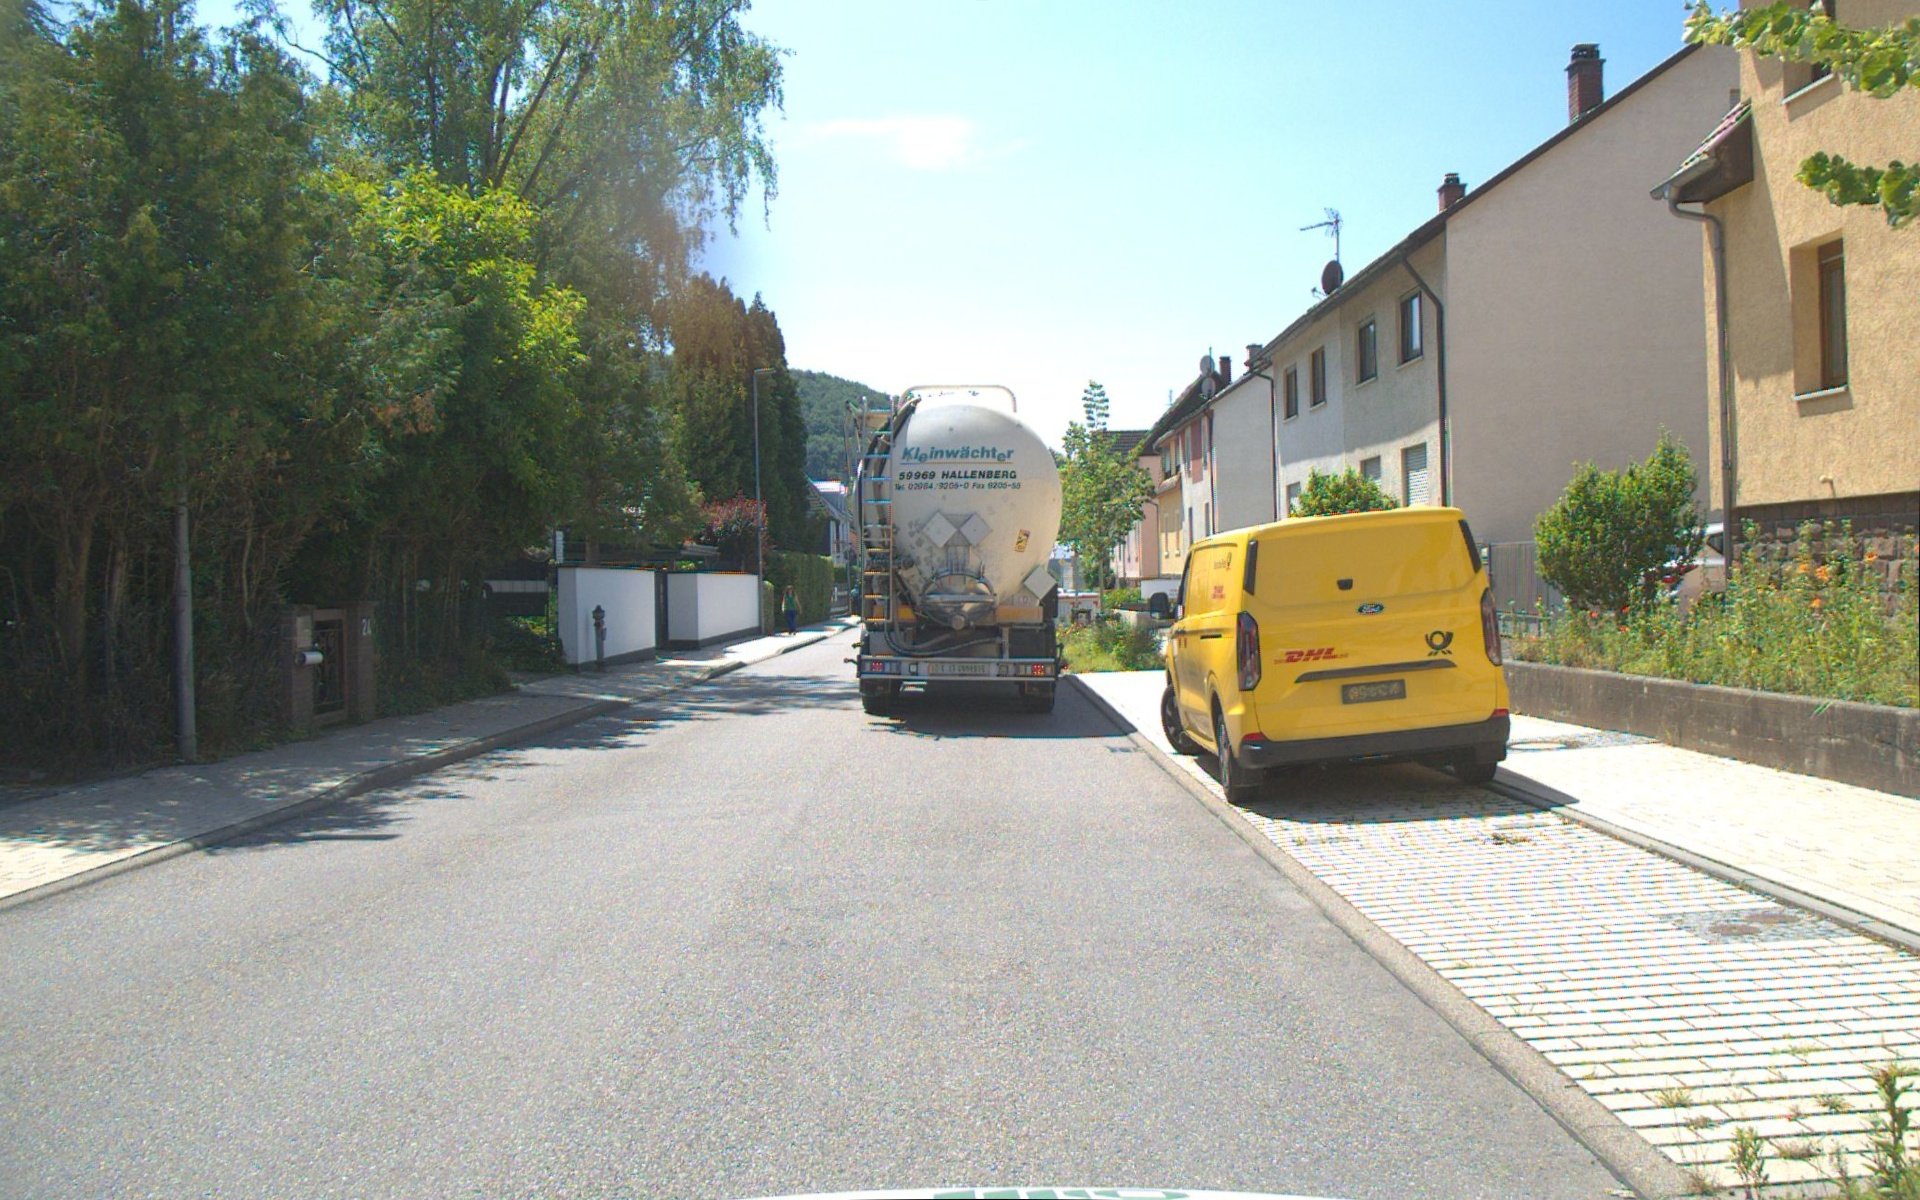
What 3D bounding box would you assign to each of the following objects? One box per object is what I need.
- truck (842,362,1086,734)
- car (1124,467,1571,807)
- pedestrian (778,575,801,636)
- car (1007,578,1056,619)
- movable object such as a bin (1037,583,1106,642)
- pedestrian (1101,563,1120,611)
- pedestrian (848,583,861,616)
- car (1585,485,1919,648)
[{"bbox_3d":[0.003,-0.620,23.889,2.694,4.127,10.888,0,0,0],"label":"truck"},{"bbox_3d":[2.847,0.265,13.759,2.146,2.048,5.621,-5,0,-1],"label":"car"},{"bbox_3d":[-5.806,0.183,56.459,0.706,2.049,0.804,0,-1,-1],"label":"pedestrian"},{"bbox_3d":[2.864,-0.028,66.810,1.721,1.442,4.632,-3,-1,0],"label":"car"},{"bbox_3d":[2.890,0.338,43.471,1.540,1.441,3.041,-2,-1,-1],"label":"movable object such as a bin"},{"bbox_3d":[6.592,-0.558,72.395,0.731,2.049,1.033,0,-1,1],"label":"pedestrian"},{"bbox_3d":[-5.811,-0.021,91.343,0.698,1.855,0.898,0,-1,-4],"label":"pedestrian"},{"bbox_3d":[10.212,-0.430,20.781,3.908,1.705,1.873,-4,0,-3],"label":"car"}]
